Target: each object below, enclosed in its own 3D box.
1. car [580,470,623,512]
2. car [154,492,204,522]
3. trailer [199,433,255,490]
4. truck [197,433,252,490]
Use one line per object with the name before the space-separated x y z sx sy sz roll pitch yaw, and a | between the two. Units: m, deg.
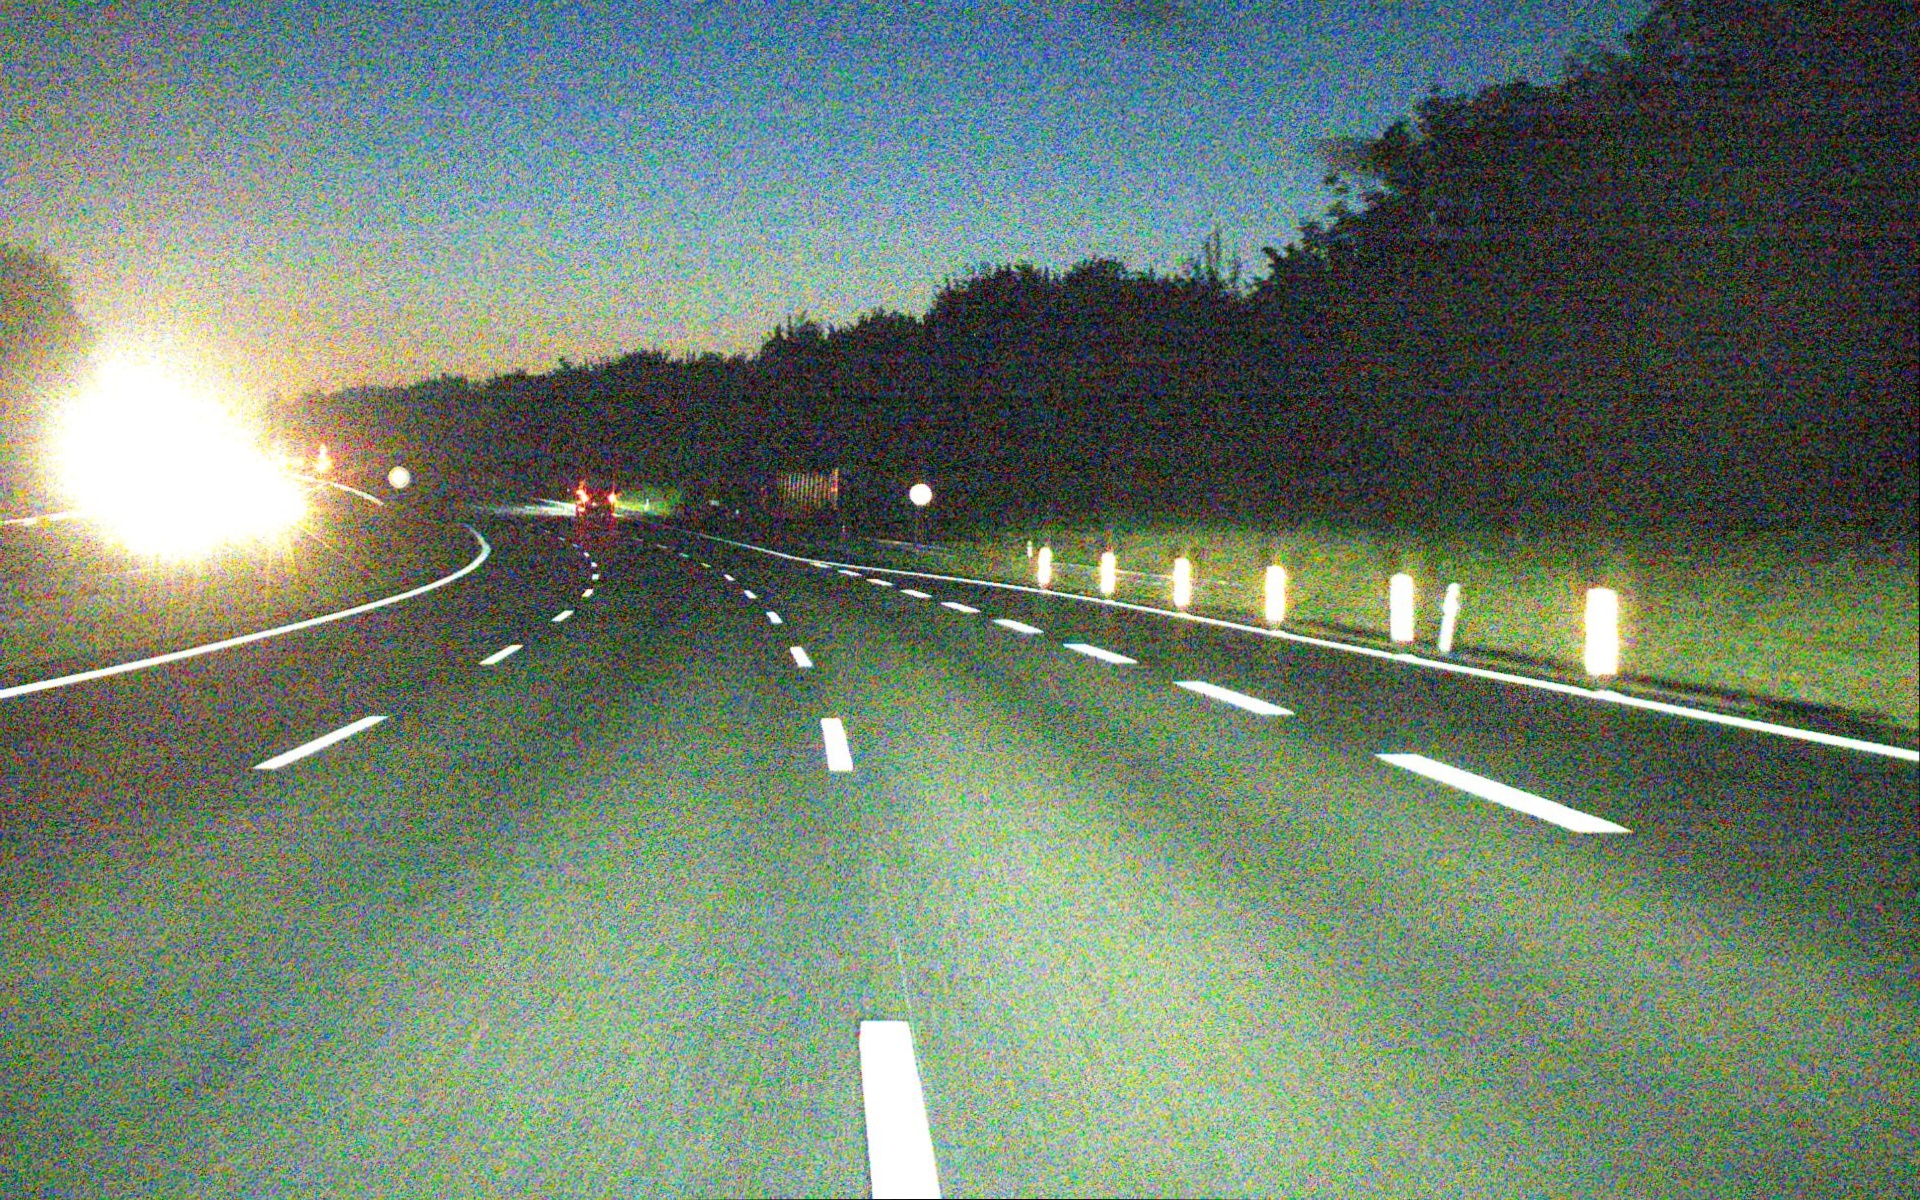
car | -23.328 -7.092 223.633 2.527 2.544 6.053 3 2 -7
car | -39.228 -4.674 172.775 1.993 1.503 4.001 0 2 -6
trailer | -54.541 -10.320 256.141 3.598 4.076 14.129 0 2 -10
truck | -53.453 -10.070 249.953 3.589 4.085 5.996 0 2 -9
